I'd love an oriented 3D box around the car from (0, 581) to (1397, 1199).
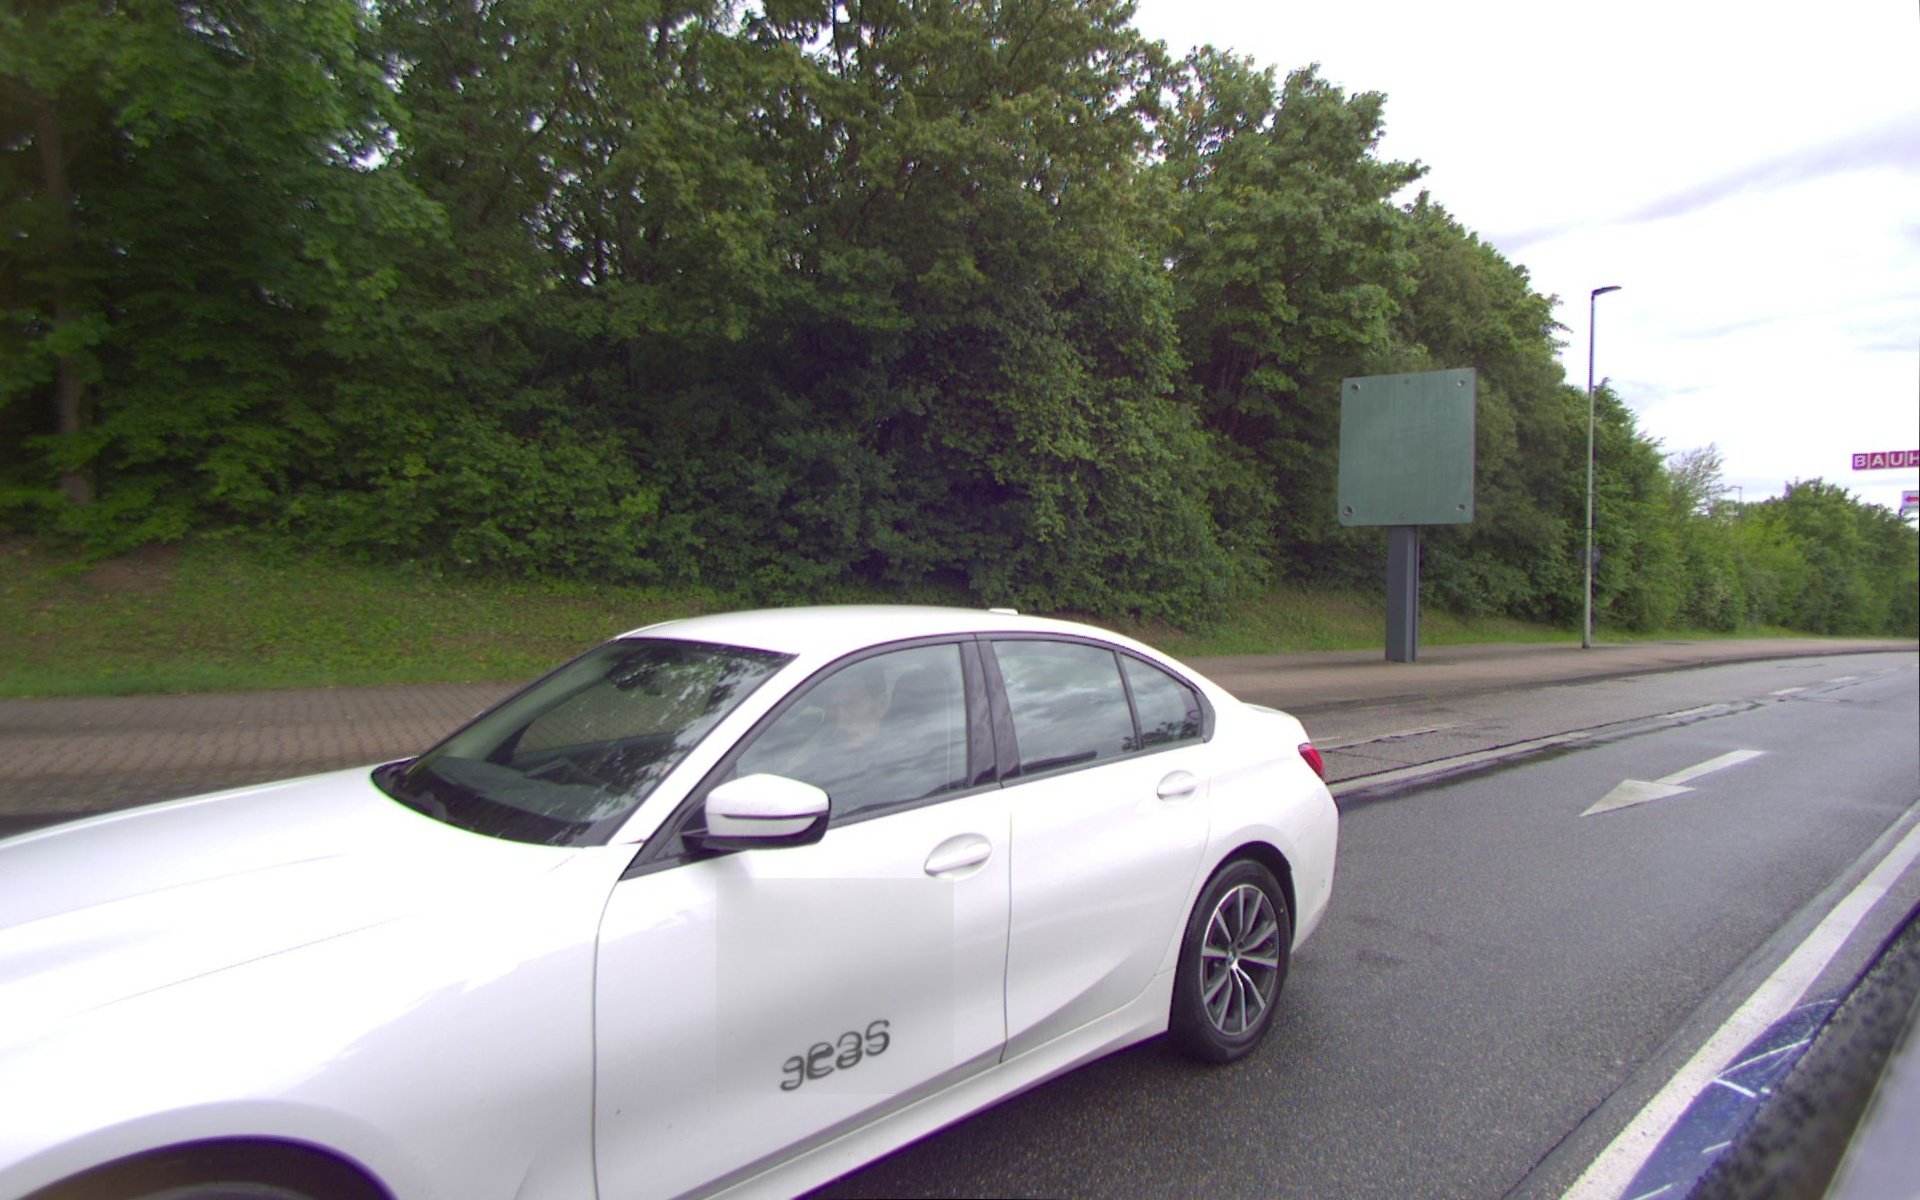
[{"bbox_3d":[-0.570,0.687,3.080,4.600,1.475,1.782,-1,1,-42],"label":"car"}]
